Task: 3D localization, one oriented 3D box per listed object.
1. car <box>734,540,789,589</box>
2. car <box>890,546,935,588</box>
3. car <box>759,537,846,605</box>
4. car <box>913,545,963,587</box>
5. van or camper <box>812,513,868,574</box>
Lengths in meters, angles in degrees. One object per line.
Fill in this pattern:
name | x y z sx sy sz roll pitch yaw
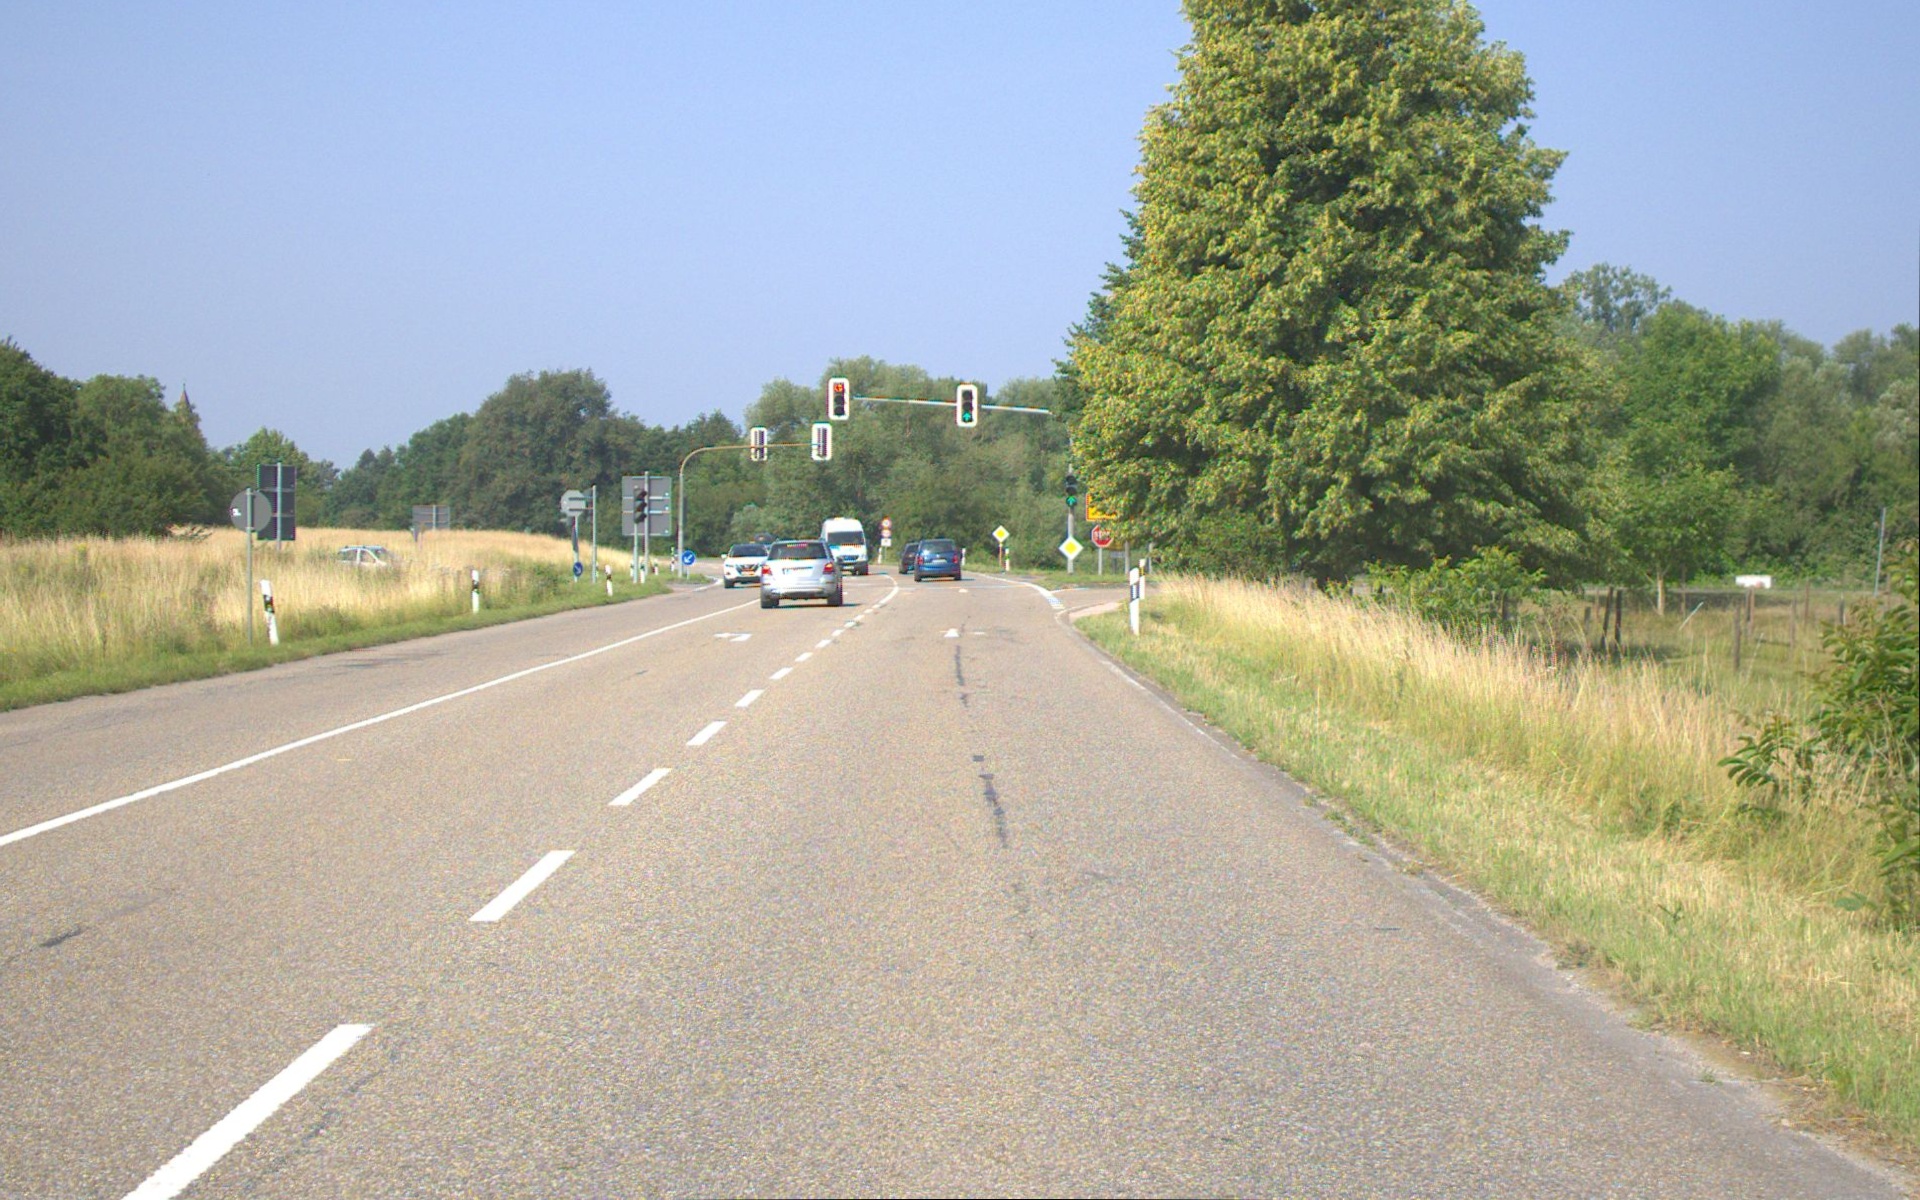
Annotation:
car | -7.399 -1.350 128.241 1.592 1.722 4.000 3 1 2
car | -2.188 -1.553 160.425 1.993 1.809 4.000 3 1 -1
car | -3.749 -0.709 82.475 1.899 1.506 4.000 3 1 -1
car | -0.845 -1.351 133.839 1.816 1.515 4.000 3 1 0
van or camper | -5.627 -2.662 161.360 2.265 2.700 5.262 3 1 1
